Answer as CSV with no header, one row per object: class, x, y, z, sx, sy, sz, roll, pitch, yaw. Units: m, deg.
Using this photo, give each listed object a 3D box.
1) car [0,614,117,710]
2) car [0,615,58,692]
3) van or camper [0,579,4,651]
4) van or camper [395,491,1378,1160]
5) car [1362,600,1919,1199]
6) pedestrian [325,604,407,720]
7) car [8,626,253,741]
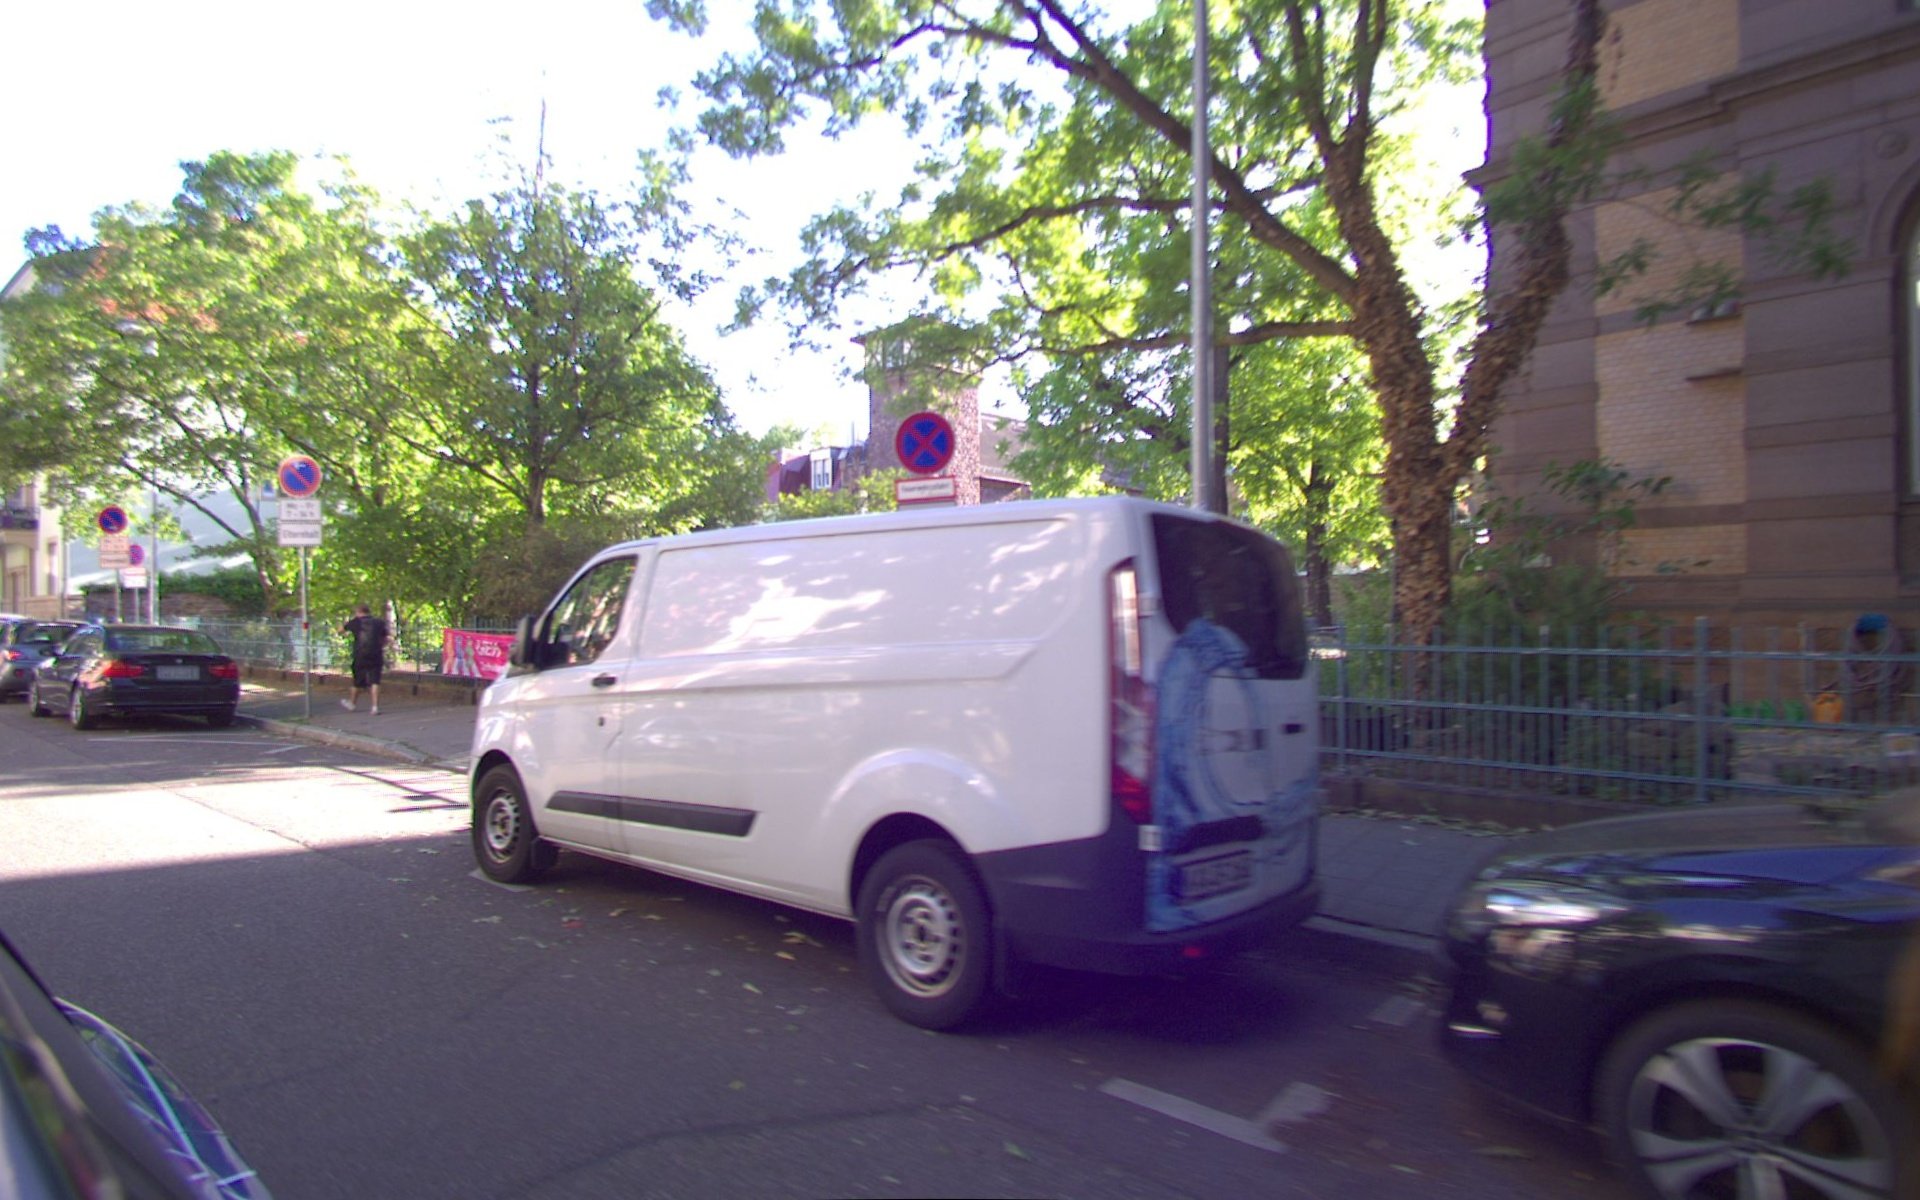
car,-17.029,1.094,18.562,4.148,1.585,1.659,-1,-4,40
car,-21.781,1.148,22.542,4.464,1.603,1.763,-1,-3,39
van or camper,-30.002,0.804,29.624,5.845,2.790,2.107,-1,-3,39
van or camper,-0.835,0.749,5.499,5.455,1.995,1.903,-1,-4,38
car,3.501,0.760,2.094,4.601,1.468,1.981,-1,-3,40
pedestrian,-8.466,0.862,14.430,0.529,1.589,0.872,-1,0,40
car,-12.099,1.123,14.648,4.773,1.406,1.697,-1,-5,38
